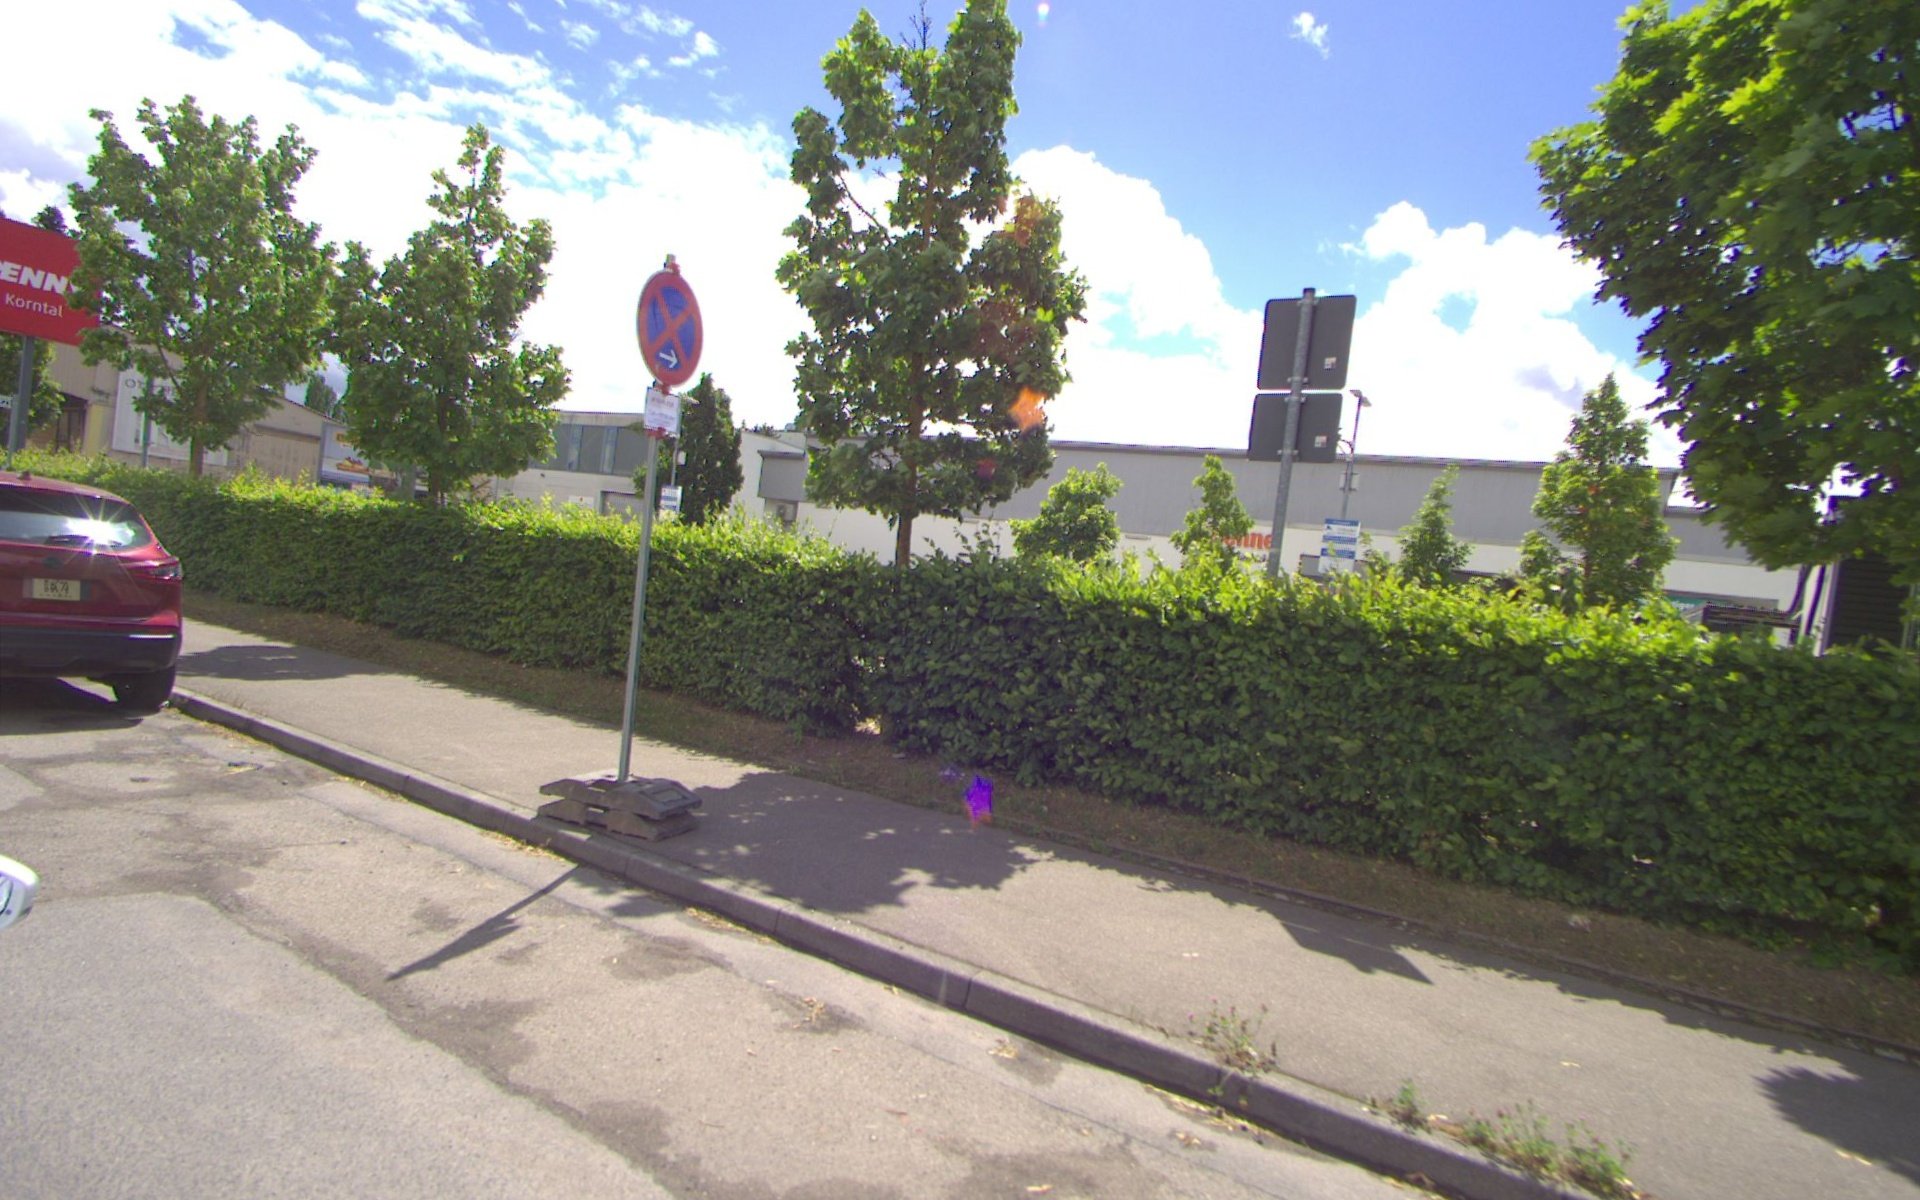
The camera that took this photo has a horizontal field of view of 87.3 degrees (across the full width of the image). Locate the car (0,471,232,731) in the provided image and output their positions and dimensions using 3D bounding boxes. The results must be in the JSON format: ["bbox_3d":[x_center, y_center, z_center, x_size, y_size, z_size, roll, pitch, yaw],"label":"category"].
[{"bbox_3d":[-7.545,-0.209,7.522,4.374,1.591,1.942,8,1,34],"label":"car"}]

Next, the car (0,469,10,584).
[{"bbox_3d":[-11.635,-0.767,10.004,4.370,1.591,1.944,8,1,30],"label":"car"}]

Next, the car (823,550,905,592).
[{"bbox_3d":[-4.573,-1.388,48.545,1.789,1.527,3.991,8,1,31],"label":"car"}]

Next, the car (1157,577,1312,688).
[{"bbox_3d":[5.743,0.738,20.702,1.966,1.725,3.997,8,-2,30],"label":"car"}]

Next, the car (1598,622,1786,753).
[{"bbox_3d":[12.359,1.530,17.279,1.966,1.725,3.997,8,-2,30],"label":"car"}]

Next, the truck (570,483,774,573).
[{"bbox_3d":[-15.964,-3.928,57.213,2.930,2.897,12.004,8,-2,33],"label":"truck"}]
